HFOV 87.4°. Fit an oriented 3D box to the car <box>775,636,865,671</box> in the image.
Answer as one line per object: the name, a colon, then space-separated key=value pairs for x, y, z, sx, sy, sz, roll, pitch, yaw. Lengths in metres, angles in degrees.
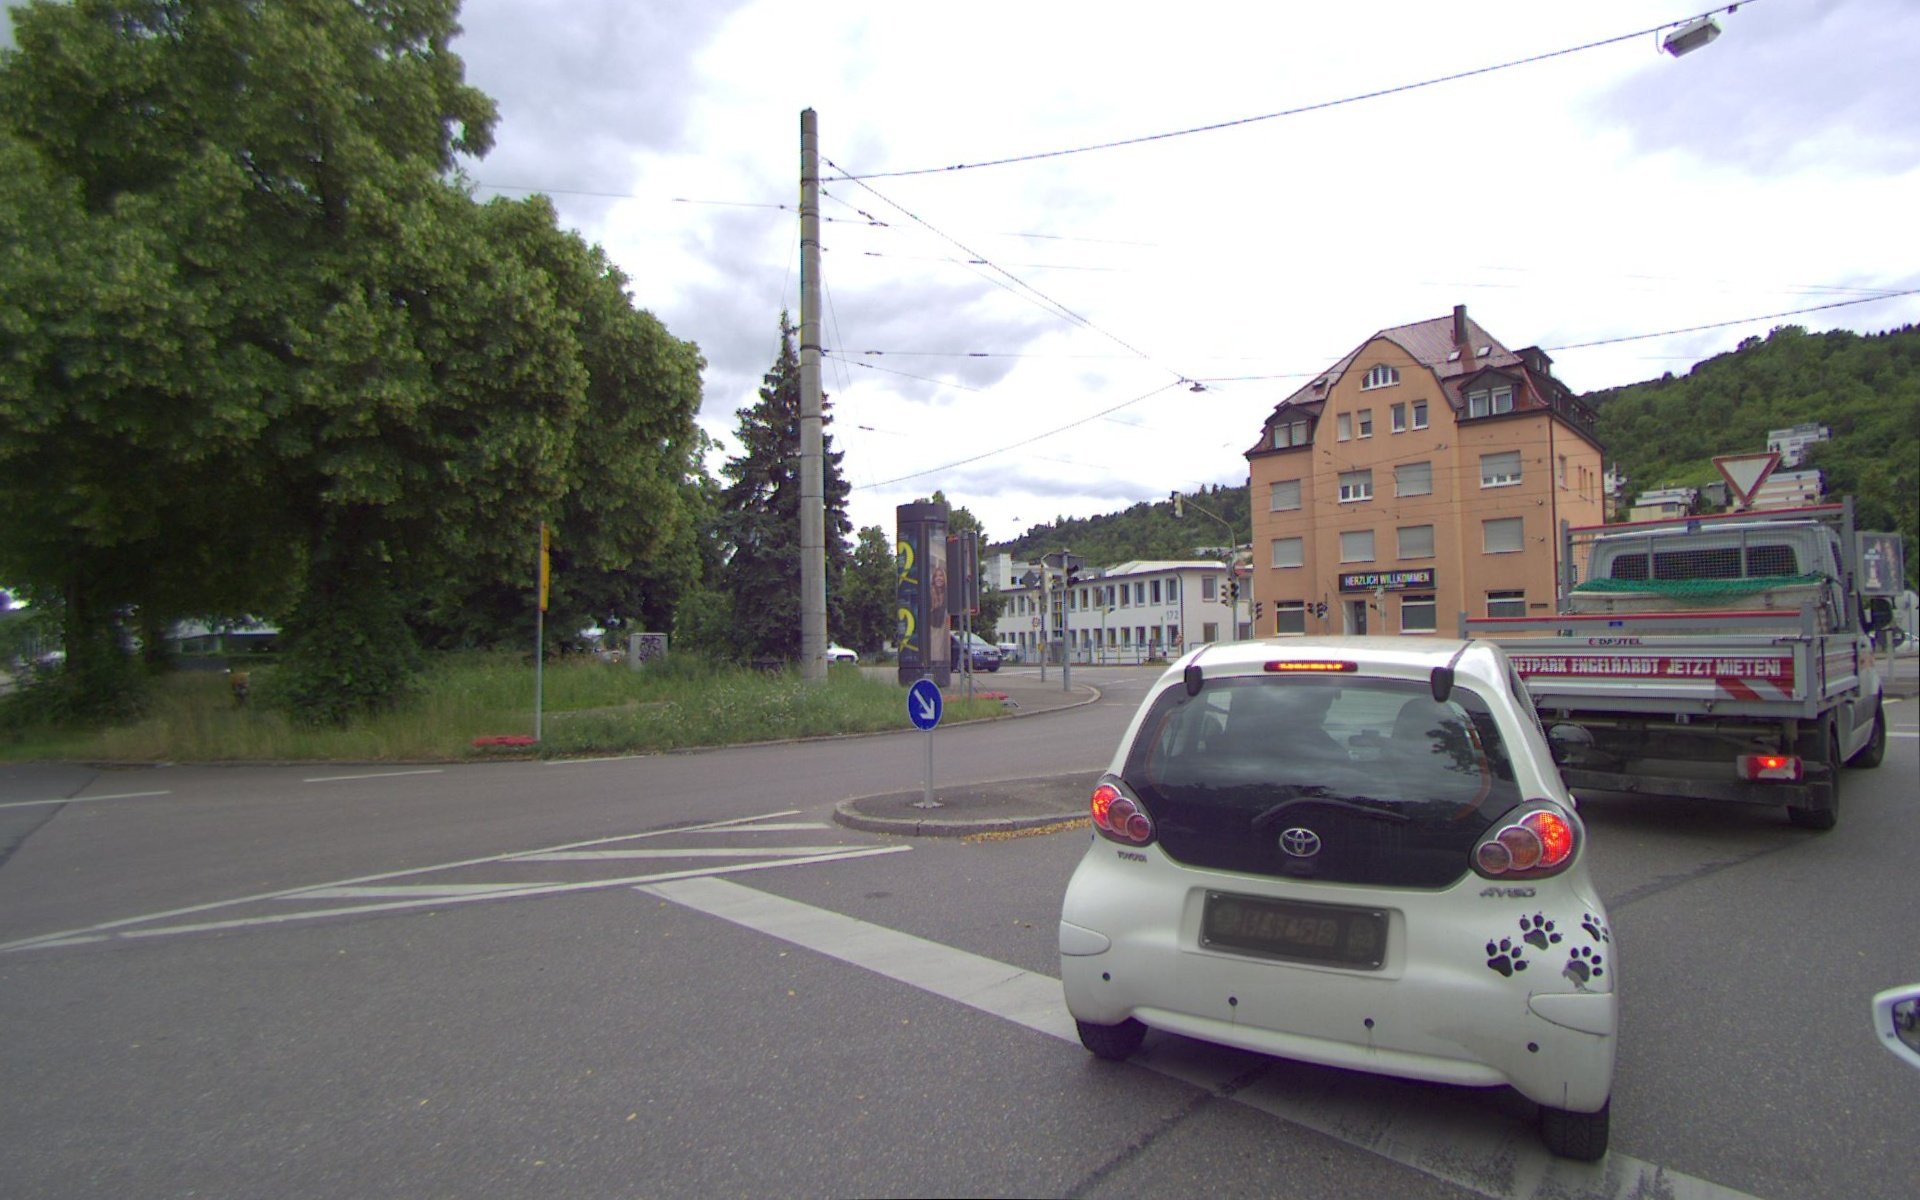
car: x=-6.138 y=2.330 z=43.615 sx=1.791 sy=1.385 sz=4.421 roll=0 pitch=-3 yaw=-41

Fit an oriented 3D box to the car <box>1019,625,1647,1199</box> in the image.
car: x=1.731 y=0.876 z=4.318 sx=1.615 sy=1.451 sz=3.426 roll=-3 pitch=-3 yaw=28

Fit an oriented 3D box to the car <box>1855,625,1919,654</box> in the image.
car: x=52.921 y=2.214 z=56.155 sx=1.764 sy=1.553 sz=4.162 roll=1 pitch=-3 yaw=-44

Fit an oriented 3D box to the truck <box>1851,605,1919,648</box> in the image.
truck: x=55.292 y=1.513 z=58.216 sx=5.112 sy=2.424 sz=1.995 roll=-3 pitch=-3 yaw=33

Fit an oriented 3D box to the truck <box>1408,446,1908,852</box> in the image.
truck: x=6.506 y=0.385 z=8.960 sx=5.986 sy=2.429 sz=2.399 roll=1 pitch=-4 yaw=-43

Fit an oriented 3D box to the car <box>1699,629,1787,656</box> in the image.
car: x=47.648 y=2.586 z=61.193 sx=4.153 sy=1.553 sz=1.768 roll=-3 pitch=-3 yaw=39

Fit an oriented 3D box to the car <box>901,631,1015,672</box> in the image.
car: x=-0.141 y=1.915 z=37.034 sx=1.790 sy=1.385 sz=4.422 roll=0 pitch=-3 yaw=-40
